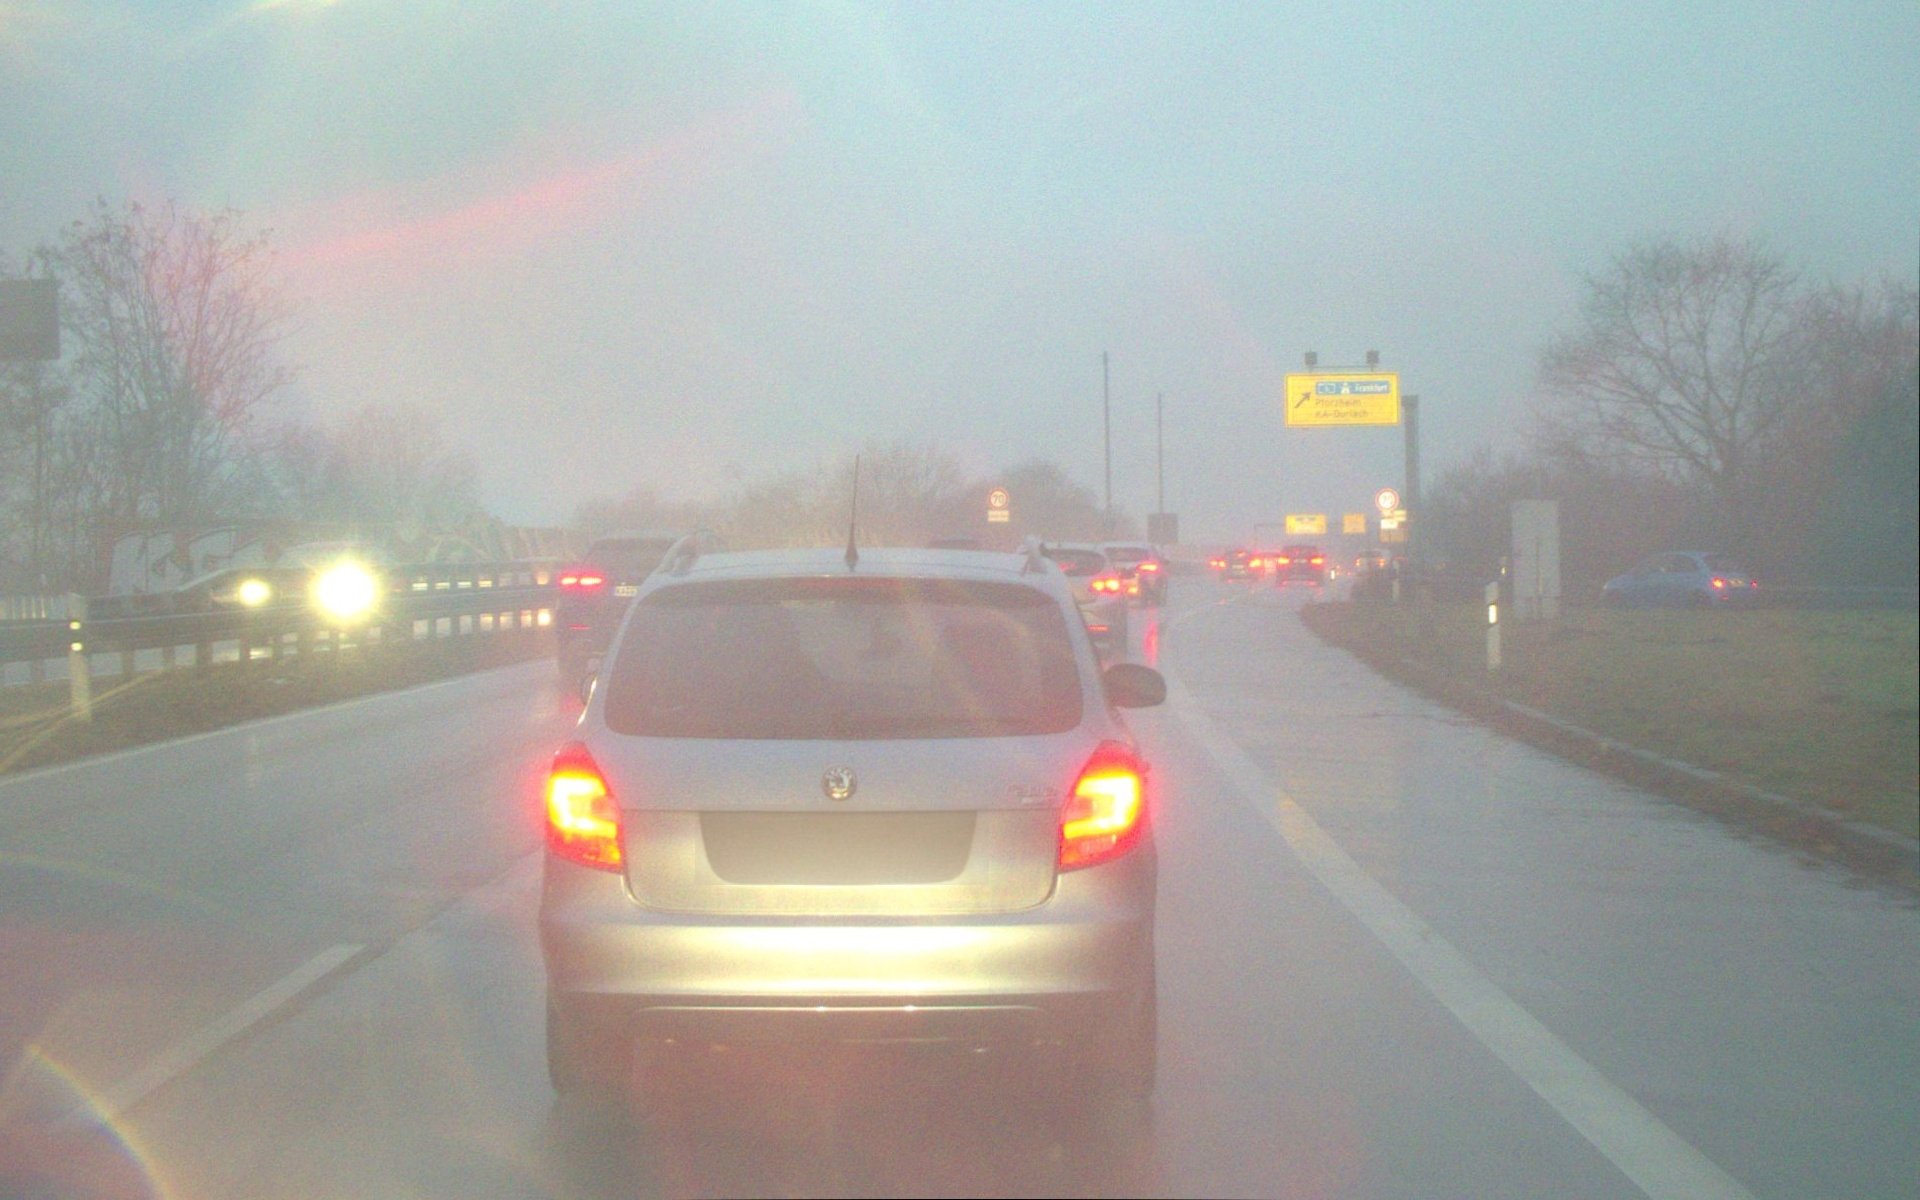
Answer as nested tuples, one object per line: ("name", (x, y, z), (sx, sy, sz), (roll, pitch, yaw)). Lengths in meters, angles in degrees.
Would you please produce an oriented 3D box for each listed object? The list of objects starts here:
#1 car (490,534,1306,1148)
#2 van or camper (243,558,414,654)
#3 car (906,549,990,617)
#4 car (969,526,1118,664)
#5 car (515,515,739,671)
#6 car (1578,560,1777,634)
("car", (-0.100, 0.575, 10.509), (1.993, 1.495, 4.137), (0, 0, 2))
("van or camper", (-10.222, 0.066, 55.928), (1.527, 1.476, 4.433), (-1, 1, 6))
("car", (-0.257, -0.428, 81.274), (1.789, 1.540, 4.000), (-1, 1, 2))
("car", (1.172, -0.092, 46.441), (1.897, 1.761, 4.308), (-1, 1, 3))
("car", (-3.648, -0.110, 38.423), (1.993, 1.596, 4.308), (1, 1, 1))
("car", (15.542, -0.079, 74.612), (1.790, 1.540, 3.999), (-1, 1, -38))
